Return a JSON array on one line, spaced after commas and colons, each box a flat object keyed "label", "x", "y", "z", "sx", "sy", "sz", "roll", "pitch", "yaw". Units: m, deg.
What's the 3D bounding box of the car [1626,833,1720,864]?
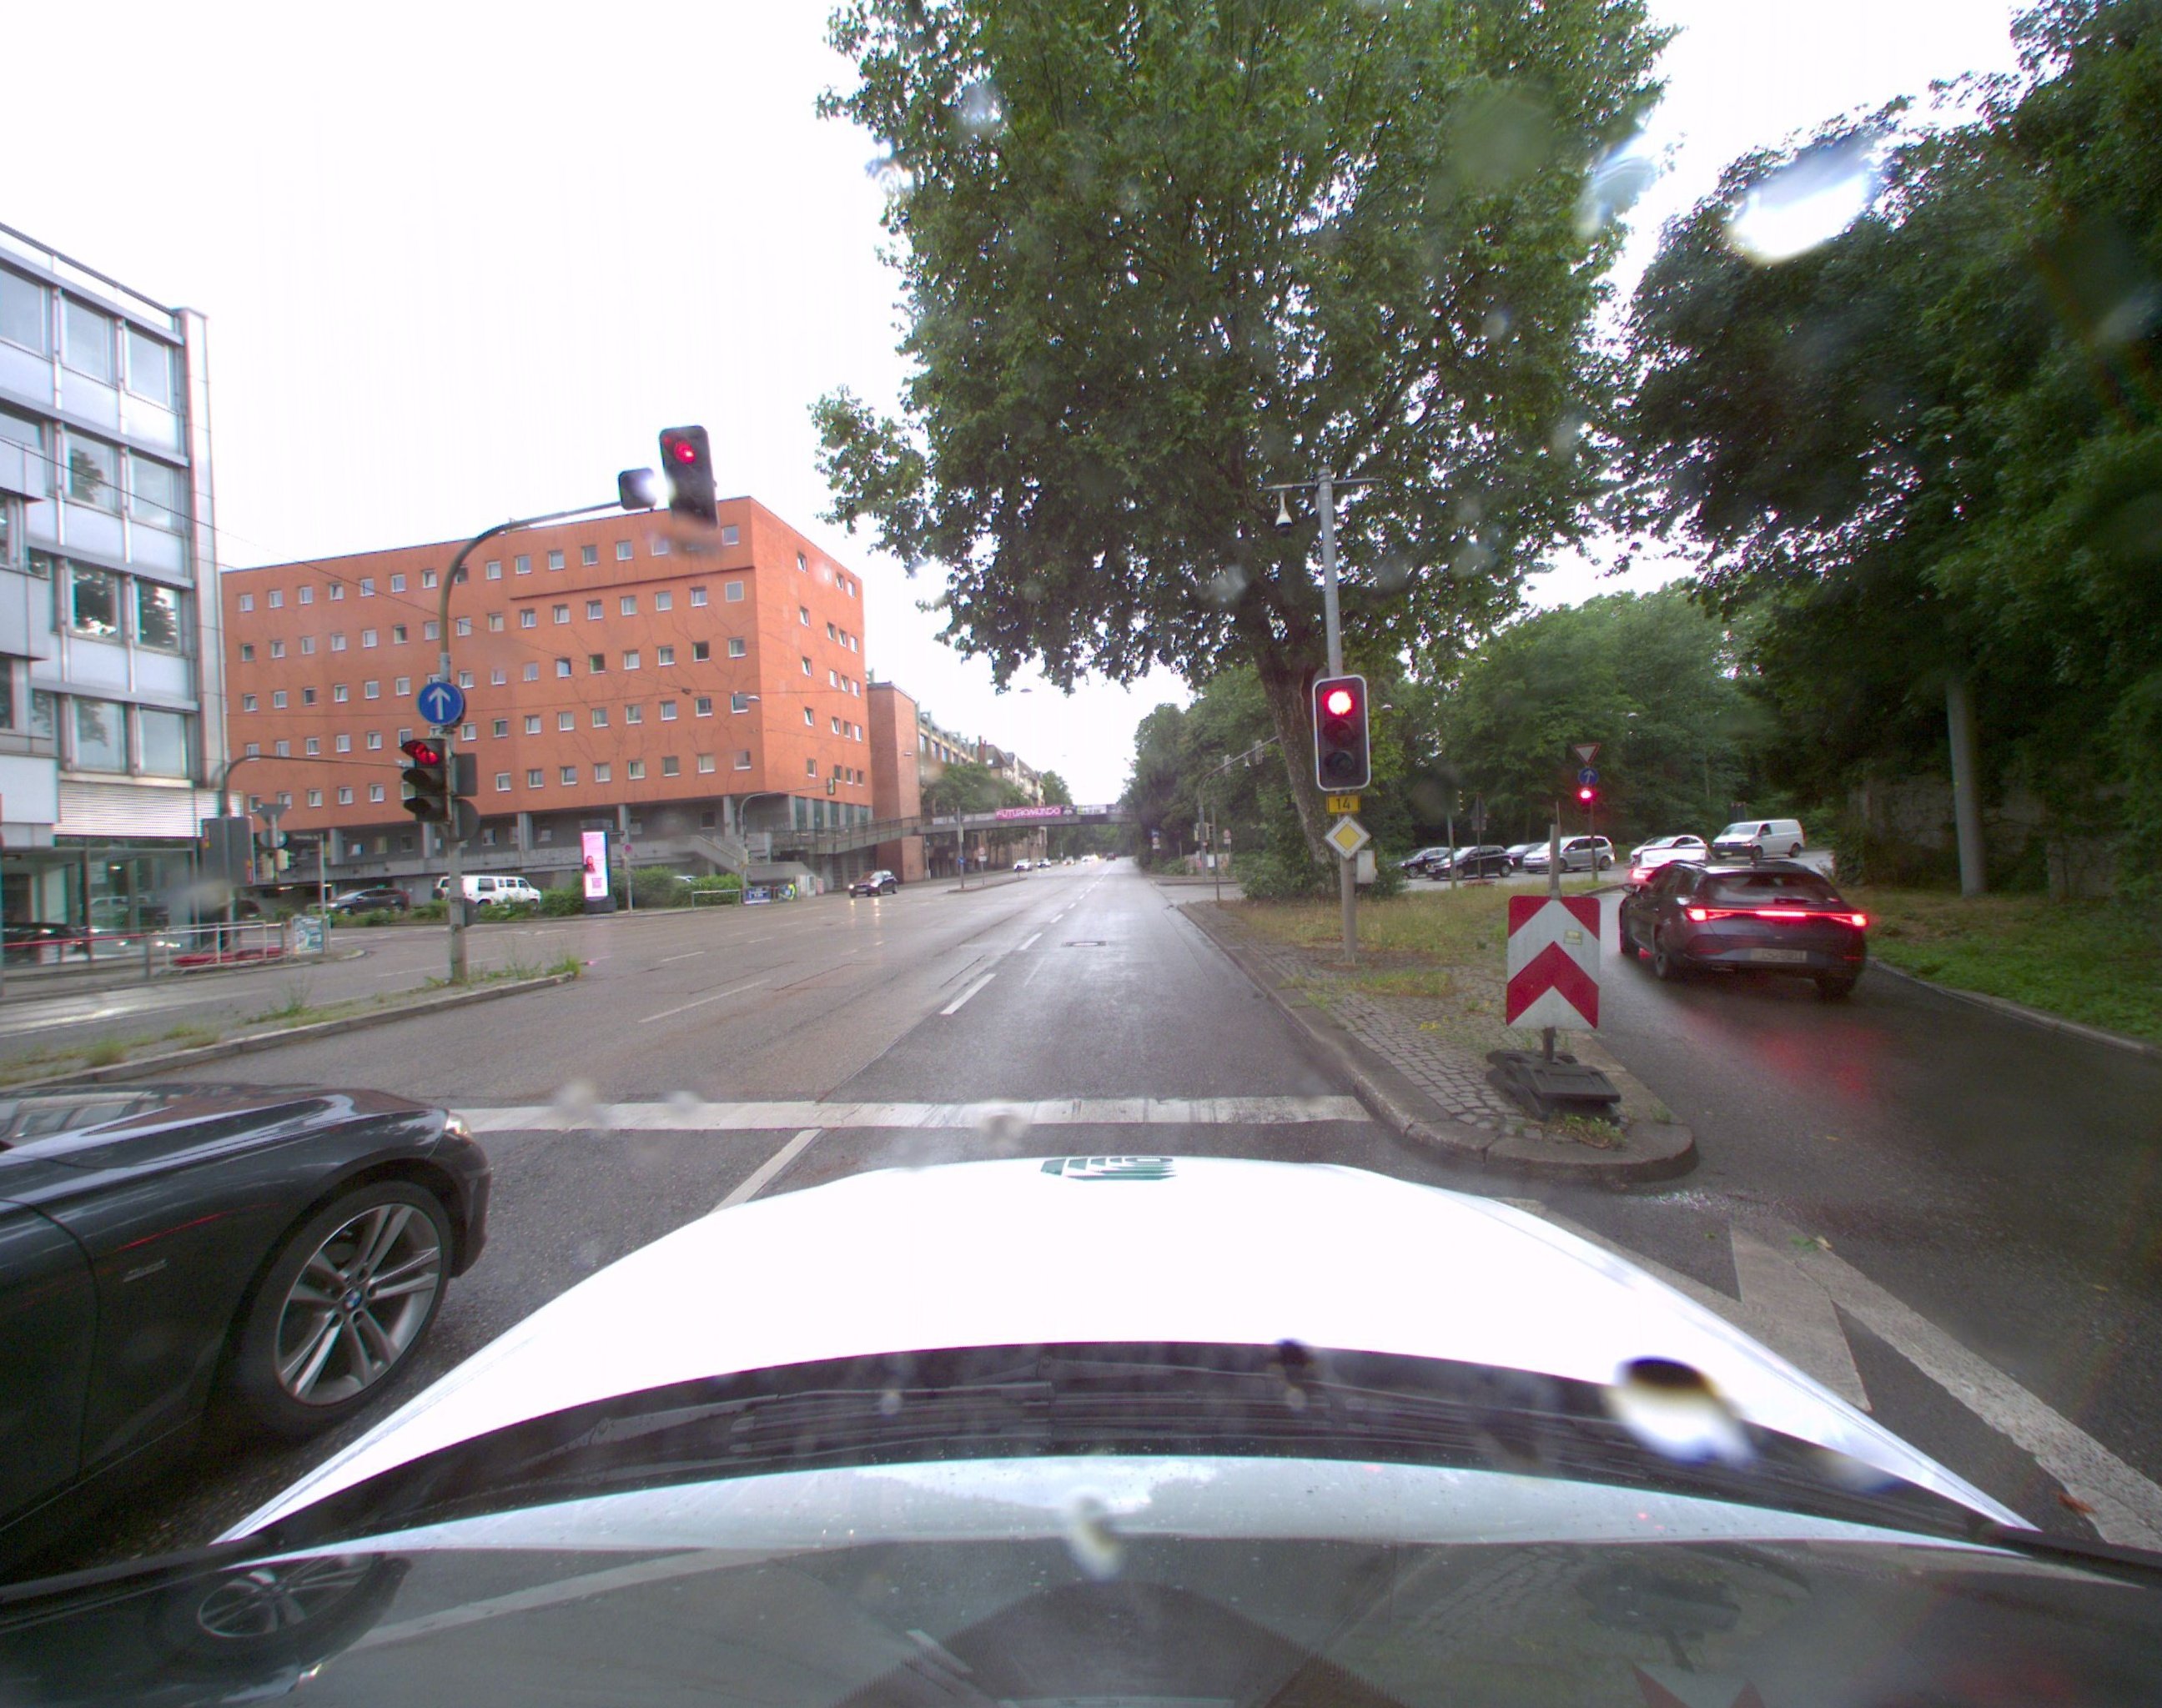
[{"label": "car", "x": 28.837, "y": -0.276, "z": 39.697, "sx": 3.857, "sy": 1.461, "sz": 1.650, "roll": 0, "pitch": -1, "yaw": -14}]

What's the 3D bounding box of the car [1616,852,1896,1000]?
[{"label": "car", "x": 8.119, "y": 0.699, "z": 10.282, "sx": 1.732, "sy": 1.403, "sz": 4.440, "roll": 1, "pitch": 1, "yaw": 26}]

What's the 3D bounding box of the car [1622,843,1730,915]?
[{"label": "car", "x": 14.042, "y": 0.496, "z": 19.303, "sx": 1.834, "sy": 1.448, "sz": 4.648, "roll": 2, "pitch": 2, "yaw": 36}]

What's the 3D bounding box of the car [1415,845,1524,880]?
[{"label": "car", "x": 17.154, "y": 0.355, "z": 36.007, "sx": 4.192, "sy": 1.460, "sz": 1.784, "roll": 0, "pitch": -1, "yaw": -14}]

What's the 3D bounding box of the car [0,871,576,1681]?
[{"label": "car", "x": -2.928, "y": 0.826, "z": 0.866, "sx": 1.769, "sy": 1.458, "sz": 4.480, "roll": -3, "pitch": -1, "yaw": 3}]

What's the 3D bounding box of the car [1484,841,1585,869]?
[{"label": "car", "x": 22.925, "y": 0.055, "z": 41.196, "sx": 4.438, "sy": 1.402, "sz": 1.821, "roll": 0, "pitch": -1, "yaw": -14}]

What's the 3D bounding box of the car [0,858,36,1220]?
[{"label": "car", "x": -6.004, "y": 0.834, "z": 1.674, "sx": 1.801, "sy": 1.656, "sz": 4.449, "roll": 0, "pitch": -1, "yaw": 4}]

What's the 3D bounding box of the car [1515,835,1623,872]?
[{"label": "car", "x": 22.621, "y": -0.028, "z": 37.810, "sx": 4.203, "sy": 1.680, "sz": 1.898, "roll": 0, "pitch": -1, "yaw": -14}]

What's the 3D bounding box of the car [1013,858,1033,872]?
[{"label": "car", "x": -7.485, "y": 1.402, "z": 105.385, "sx": 1.881, "sy": 1.610, "sz": 4.461, "roll": -3, "pitch": -1, "yaw": 4}]

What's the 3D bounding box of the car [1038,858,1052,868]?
[{"label": "car", "x": -5.721, "y": 1.457, "z": 129.475, "sx": 1.701, "sy": 1.464, "sz": 4.047, "roll": -3, "pitch": -1, "yaw": 5}]

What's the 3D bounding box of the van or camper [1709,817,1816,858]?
[{"label": "van or camper", "x": 34.782, "y": -0.851, "z": 41.584, "sx": 4.863, "sy": 1.947, "sz": 1.895, "roll": -1, "pitch": -1, "yaw": -19}]

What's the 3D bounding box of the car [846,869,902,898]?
[{"label": "car", "x": -11.668, "y": 1.620, "z": 46.132, "sx": 1.678, "sy": 1.419, "sz": 4.220, "roll": -4, "pitch": -1, "yaw": 5}]

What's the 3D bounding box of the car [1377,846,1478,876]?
[{"label": "car", "x": 16.908, "y": 0.329, "z": 39.801, "sx": 4.205, "sy": 1.440, "sz": 1.941, "roll": 0, "pitch": -1, "yaw": -14}]

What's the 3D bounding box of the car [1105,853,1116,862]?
[{"label": "car", "x": 5.931, "y": 0.725, "z": 163.599, "sx": 1.998, "sy": 1.643, "sz": 4.376, "roll": -3, "pitch": -1, "yaw": 0}]

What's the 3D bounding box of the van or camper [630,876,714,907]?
[{"label": "van or camper", "x": -24.293, "y": 2.225, "z": 48.461, "sx": 3.965, "sy": 1.627, "sz": 1.918, "roll": -3, "pitch": 0, "yaw": 8}]

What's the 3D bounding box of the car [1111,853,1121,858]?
[{"label": "car", "x": 10.655, "y": 0.351, "z": 246.003, "sx": 1.848, "sy": 1.453, "sz": 3.753, "roll": 0, "pitch": -1, "yaw": -18}]

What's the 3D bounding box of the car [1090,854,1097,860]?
[{"label": "car", "x": 3.399, "y": 0.942, "z": 223.044, "sx": 1.594, "sy": 1.499, "sz": 3.715, "roll": -4, "pitch": -1, "yaw": 3}]

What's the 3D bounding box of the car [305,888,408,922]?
[{"label": "car", "x": -40.256, "y": 2.800, "z": 45.382, "sx": 1.699, "sy": 1.612, "sz": 4.097, "roll": 0, "pitch": -1, "yaw": 9}]

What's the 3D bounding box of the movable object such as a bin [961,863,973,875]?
[{"label": "movable object such as a bin", "x": -15.127, "y": 1.951, "z": 107.648, "sx": 1.277, "sy": 1.518, "sz": 1.274, "roll": -3, "pitch": 0, "yaw": 3}]

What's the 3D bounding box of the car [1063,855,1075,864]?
[{"label": "car", "x": -2.071, "y": 0.980, "z": 141.277, "sx": 1.676, "sy": 1.436, "sz": 3.865, "roll": -3, "pitch": -1, "yaw": 3}]

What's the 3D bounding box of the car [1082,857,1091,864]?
[{"label": "car", "x": 1.205, "y": 1.320, "z": 176.365, "sx": 1.823, "sy": 1.393, "sz": 4.409, "roll": -4, "pitch": -1, "yaw": 3}]

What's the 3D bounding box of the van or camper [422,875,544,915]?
[{"label": "van or camper", "x": -32.832, "y": 2.209, "z": 44.975, "sx": 2.113, "sy": 1.977, "sz": 5.466, "roll": 0, "pitch": -1, "yaw": 9}]
